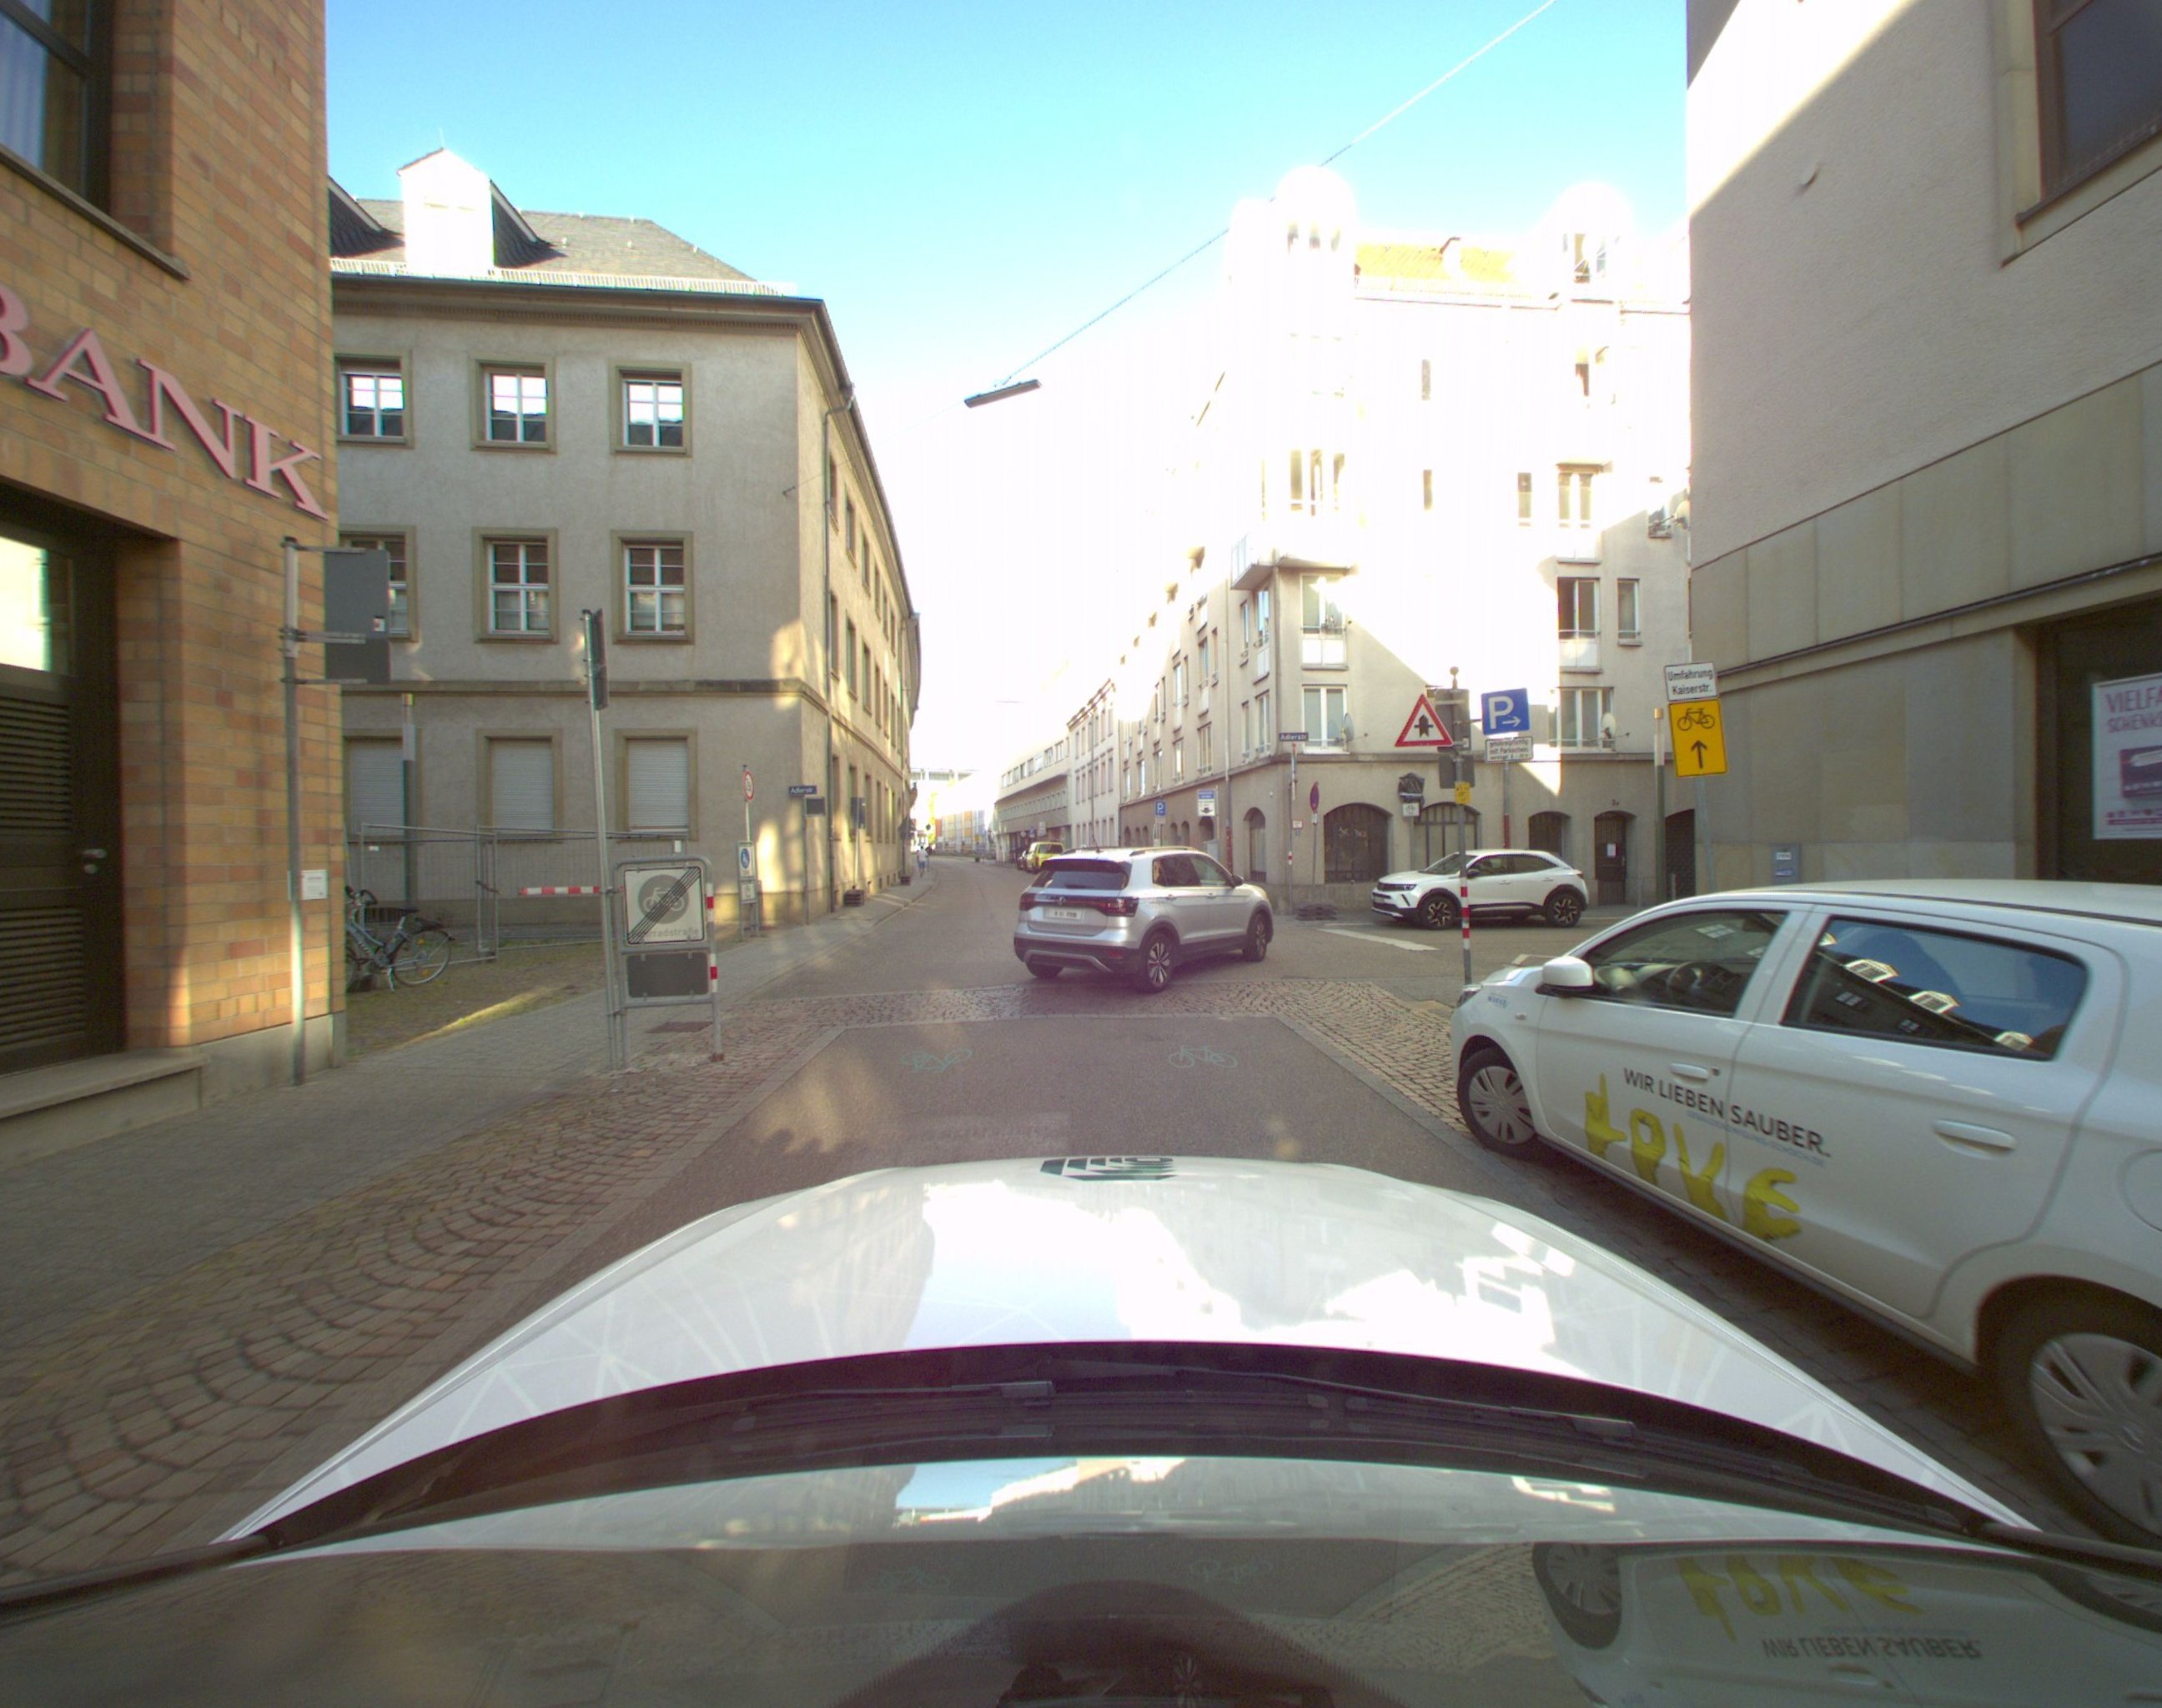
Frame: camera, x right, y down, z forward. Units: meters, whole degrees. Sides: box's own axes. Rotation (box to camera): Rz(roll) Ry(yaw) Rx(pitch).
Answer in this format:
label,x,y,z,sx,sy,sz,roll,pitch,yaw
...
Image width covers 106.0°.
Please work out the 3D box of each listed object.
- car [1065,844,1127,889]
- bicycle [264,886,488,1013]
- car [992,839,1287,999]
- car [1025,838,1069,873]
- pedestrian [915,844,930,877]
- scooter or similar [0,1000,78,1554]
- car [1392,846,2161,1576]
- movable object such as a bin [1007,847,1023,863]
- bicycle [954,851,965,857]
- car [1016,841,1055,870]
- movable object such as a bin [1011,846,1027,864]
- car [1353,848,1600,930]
label,x,y,z,sx,sy,sz,roll,pitch,yaw
car,0.535,0.458,33.140,1.966,1.692,4.091,0,1,-7
bicycle,-7.967,1.020,9.323,0.802,1.201,1.781,0,1,15
car,0.942,0.640,10.344,1.818,1.562,4.026,-1,1,37
car,-2.110,0.059,49.599,2.054,2.013,4.158,-1,1,-12
pedestrian,-8.506,0.349,43.646,0.767,1.724,0.684,-1,0,-13
scooter or similar,-3.072,1.019,1.527,0.691,1.217,1.365,-2,0,28
car,3.095,0.735,3.321,1.885,1.518,4.057,-1,0,-4
movable object such as a bin,-6.147,0.099,75.522,1.133,1.479,1.731,-1,0,-15
bicycle,-20.671,-0.040,138.224,1.782,1.000,0.544,-1,0,-13
car,-3.125,0.093,55.382,2.054,1.873,4.084,-1,1,-12
movable object such as a bin,-5.585,0.082,73.820,1.133,1.558,1.731,-1,0,-15
car,8.004,0.662,16.757,4.204,1.553,1.901,0,0,-2
